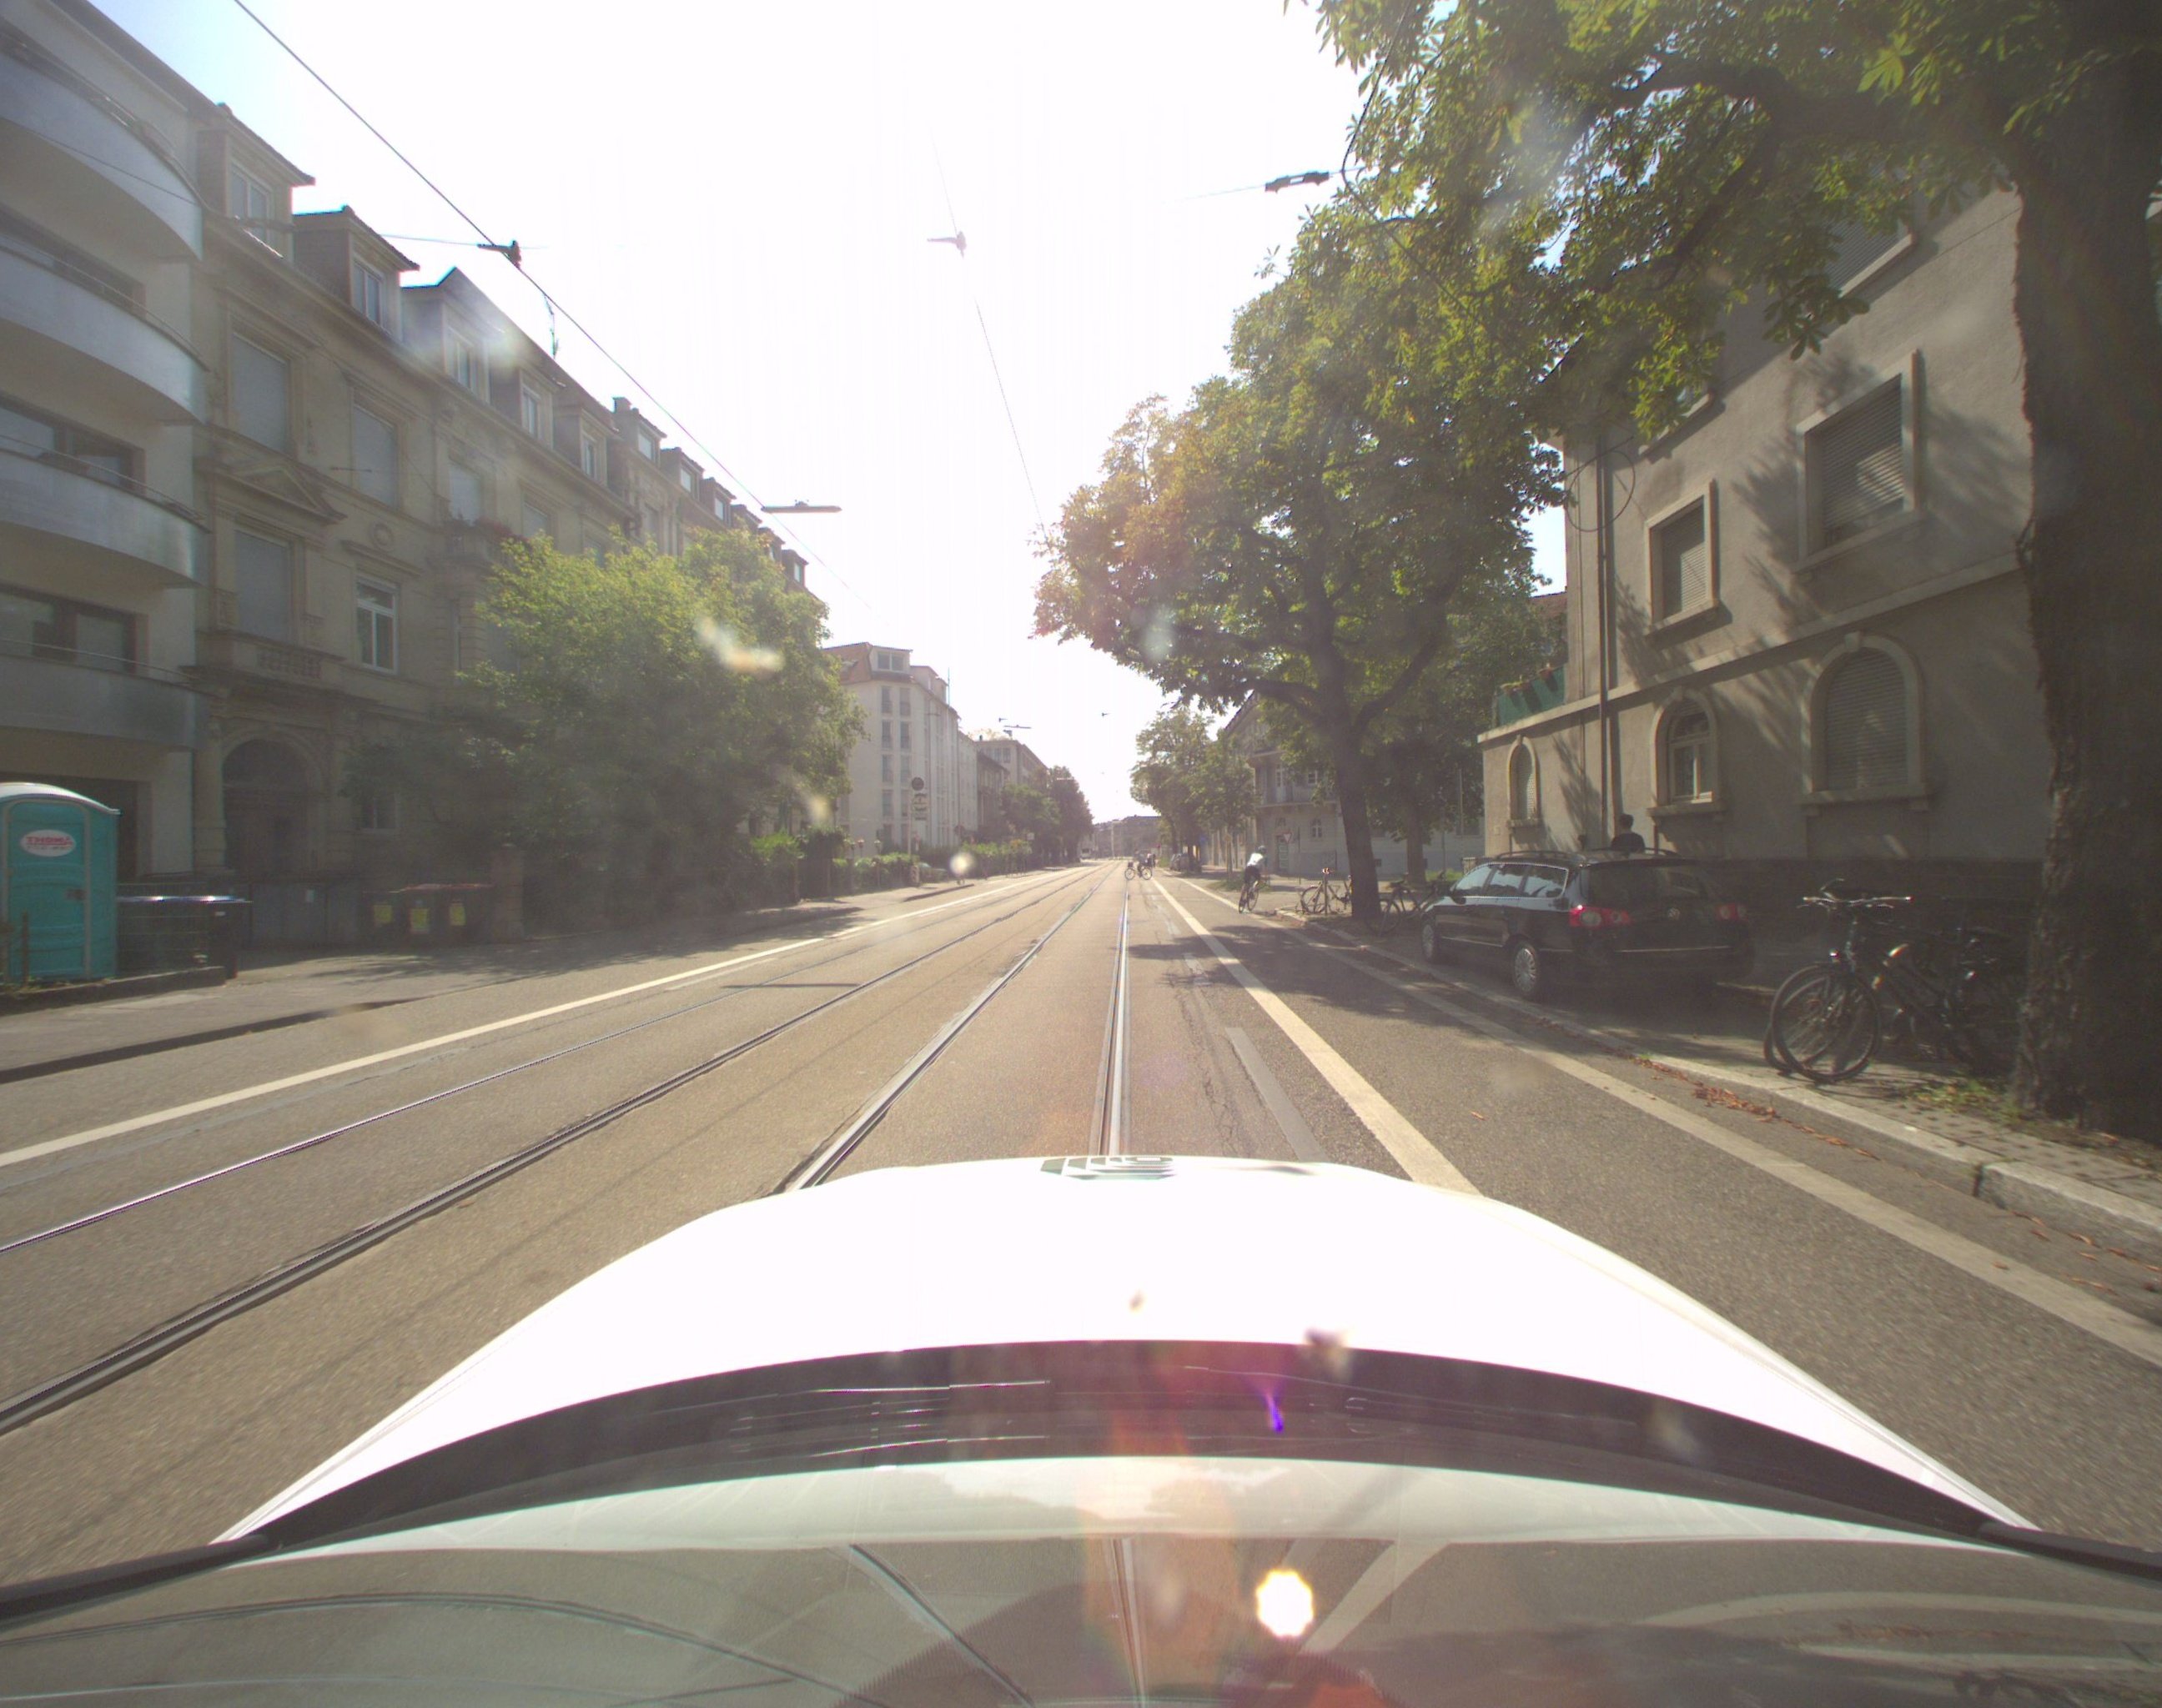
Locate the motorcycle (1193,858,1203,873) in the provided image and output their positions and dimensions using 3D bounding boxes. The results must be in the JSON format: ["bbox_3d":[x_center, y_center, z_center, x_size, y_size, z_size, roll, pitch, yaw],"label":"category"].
[{"bbox_3d":[8.786,0.841,61.080,0.546,1.068,2.332,-1,-1,4],"label":"motorcycle"}]

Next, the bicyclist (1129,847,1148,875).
[{"bbox_3d":[3.472,0.424,48.988,0.815,1.643,0.790,-1,-1,30],"label":"bicyclist"}]

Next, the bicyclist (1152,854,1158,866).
[{"bbox_3d":[7.984,0.602,87.469,0.576,1.279,0.472,-1,-1,5],"label":"bicyclist"}]

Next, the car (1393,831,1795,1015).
[{"bbox_3d":[5.399,0.613,9.523,1.833,1.532,4.783,-3,0,3],"label":"car"}]

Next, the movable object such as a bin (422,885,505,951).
[{"bbox_3d":[-10.673,1.085,14.105,0.782,1.076,0.805,0,-1,6],"label":"movable object such as a bin"}]

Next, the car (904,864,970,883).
[{"bbox_3d":[-10.200,1.407,57.717,4.192,1.184,2.011,-3,-1,23],"label":"car"}]

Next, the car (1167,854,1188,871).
[{"bbox_3d":[8.891,0.805,75.352,1.578,1.464,3.468,-1,-1,1],"label":"car"}]

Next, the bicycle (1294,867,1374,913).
[{"bbox_3d":[5.961,0.837,19.221,1.705,1.032,0.567,-1,-1,4],"label":"bicycle"}]

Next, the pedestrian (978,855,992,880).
[{"bbox_3d":[-6.767,0.939,57.551,0.776,1.756,1.041,-2,-1,4],"label":"pedestrian"}]

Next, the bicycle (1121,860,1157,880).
[{"bbox_3d":[3.502,0.982,48.978,2.015,1.151,0.790,-1,-1,30],"label":"bicycle"}]

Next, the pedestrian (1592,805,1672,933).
[{"bbox_3d":[8.430,0.229,12.487,0.703,1.892,0.715,-1,-1,5],"label":"pedestrian"}]

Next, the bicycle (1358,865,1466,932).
[{"bbox_3d":[5.810,0.785,14.349,1.712,1.137,0.378,-1,-1,9],"label":"bicycle"}]

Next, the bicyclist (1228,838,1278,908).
[{"bbox_3d":[4.666,0.509,22.081,1.115,1.837,0.961,-2,-1,21],"label":"bicyclist"}]

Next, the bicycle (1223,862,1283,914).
[{"bbox_3d":[4.722,0.889,22.172,1.138,1.269,2.726,-2,0,22],"label":"bicycle"}]

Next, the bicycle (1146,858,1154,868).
[{"bbox_3d":[6.754,0.893,79.770,0.755,0.991,2.301,-1,-1,6],"label":"bicycle"}]

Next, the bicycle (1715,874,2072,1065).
[{"bbox_3d":[5.156,0.716,5.239,1.712,1.149,0.378,-1,-1,9],"label":"bicycle"}]

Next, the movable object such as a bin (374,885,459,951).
[{"bbox_3d":[-11.487,1.094,14.109,0.782,1.076,0.805,0,-1,6],"label":"movable object such as a bin"}]

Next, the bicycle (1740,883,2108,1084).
[{"bbox_3d":[4.965,0.742,4.869,1.596,1.104,0.399,-1,-1,9],"label":"bicycle"}]

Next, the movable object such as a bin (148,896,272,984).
[{"bbox_3d":[-11.314,1.096,10.610,0.783,1.076,0.755,0,-1,1],"label":"movable object such as a bin"}]

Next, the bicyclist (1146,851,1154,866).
[{"bbox_3d":[6.748,0.430,79.807,0.755,1.391,0.780,-1,-1,5],"label":"bicyclist"}]

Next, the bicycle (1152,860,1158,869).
[{"bbox_3d":[8.002,1.136,87.538,0.585,0.939,2.175,-1,-1,6],"label":"bicycle"}]

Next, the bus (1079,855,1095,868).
[{"bbox_3d":[1.756,2.035,227.622,3.720,3.364,15.130,-1,-1,3],"label":"bus"}]

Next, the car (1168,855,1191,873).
[{"bbox_3d":[8.146,0.834,67.724,1.578,1.464,3.416,-1,-1,1],"label":"car"}]
